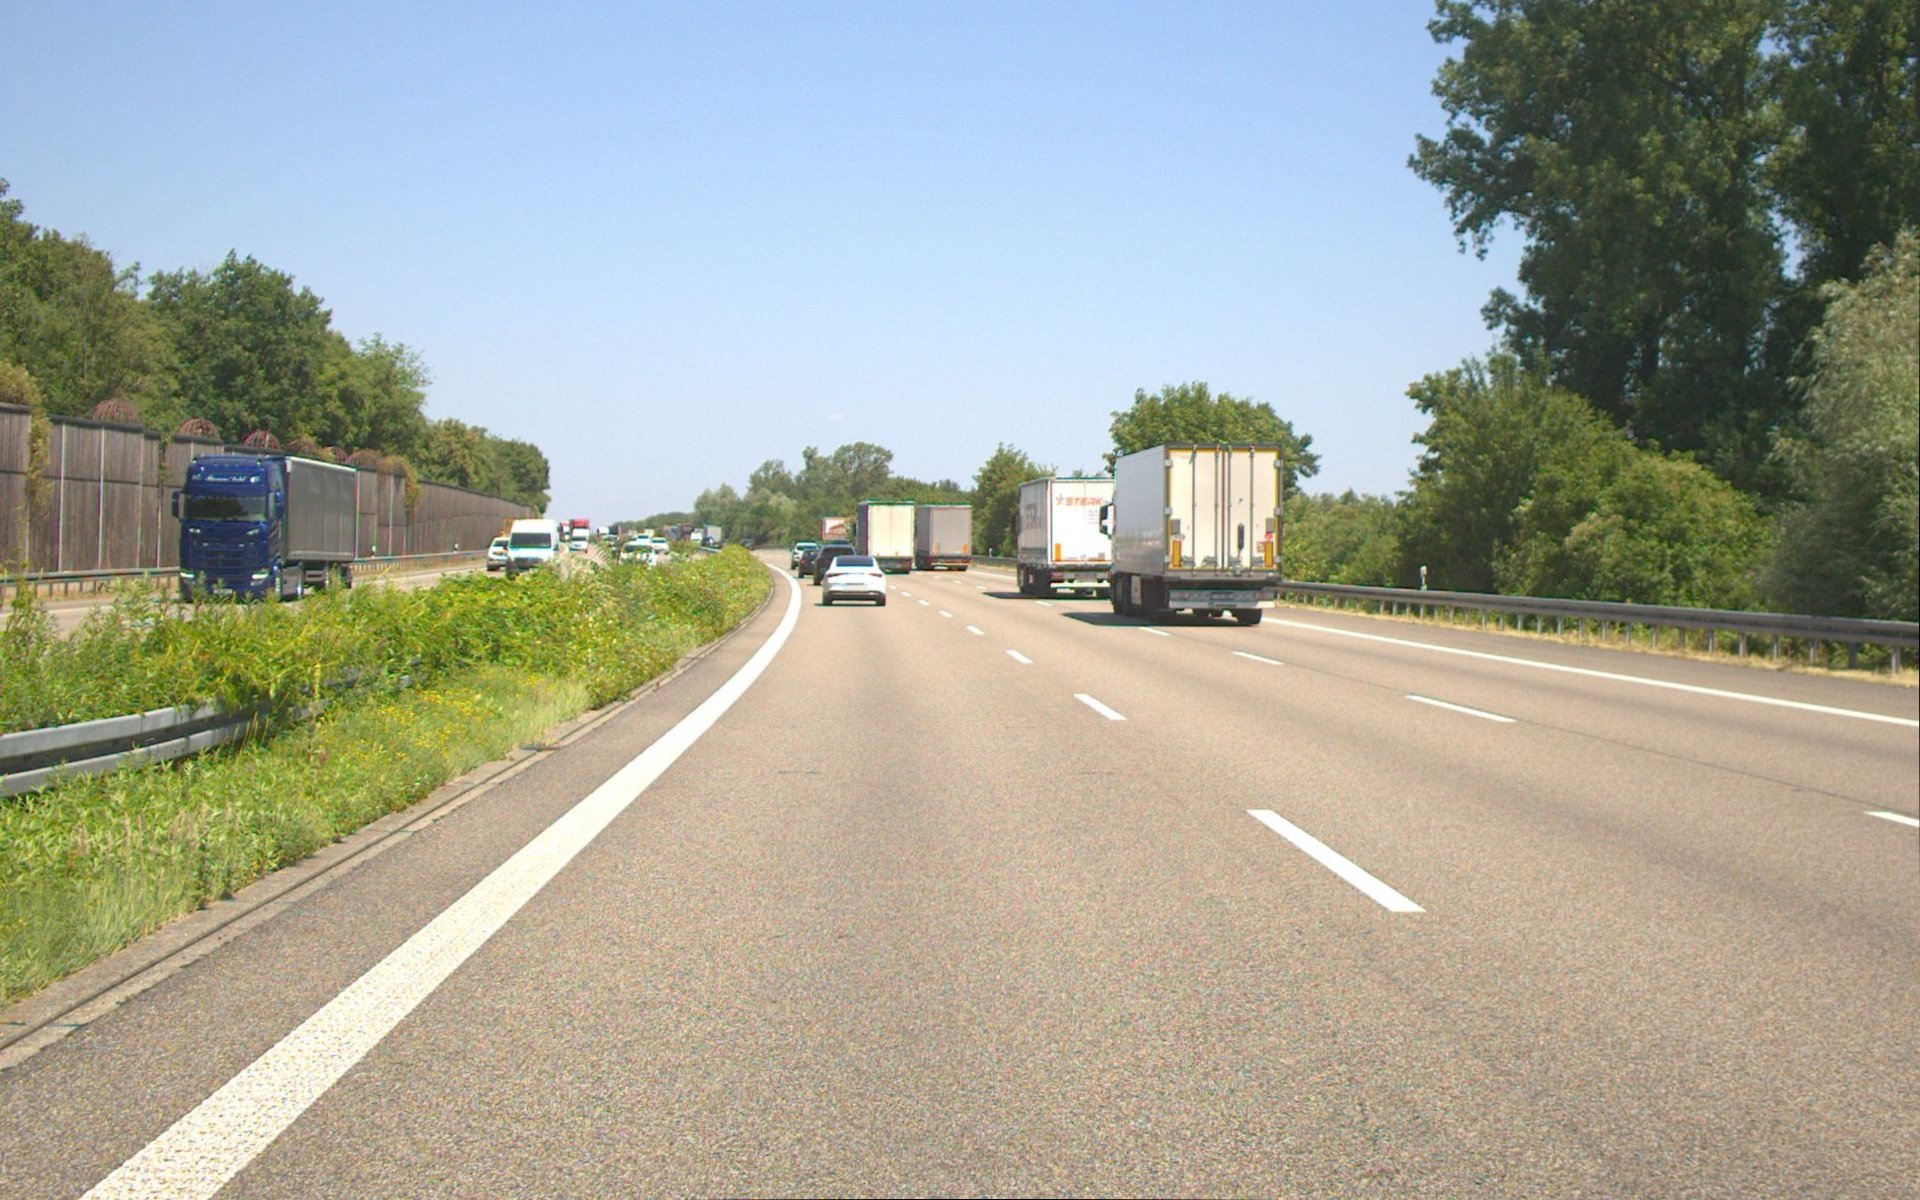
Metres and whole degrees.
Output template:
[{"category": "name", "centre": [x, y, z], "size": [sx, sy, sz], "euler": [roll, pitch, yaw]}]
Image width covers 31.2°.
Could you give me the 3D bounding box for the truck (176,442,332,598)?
[{"category": "truck", "centre": [-19.655, -2.183, 96.321], "size": [2.610, 4.114, 10.281], "euler": [1, 1, -2]}]

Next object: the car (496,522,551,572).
[{"category": "car", "centre": [-18.262, -2.211, 143.912], "size": [1.993, 2.007, 4.001], "euler": [1, 1, -4]}]

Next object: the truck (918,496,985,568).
[{"category": "truck", "centre": [-0.597, -4.203, 215.061], "size": [3.830, 4.296, 11.555], "euler": [1, 0, -2]}]

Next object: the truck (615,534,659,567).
[{"category": "truck", "centre": [-15.321, -2.326, 163.146], "size": [1.818, 1.518, 3.628], "euler": [1, 0, -2]}]

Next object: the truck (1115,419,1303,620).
[{"category": "truck", "centre": [5.636, -1.776, 79.920], "size": [3.492, 4.296, 10.988], "euler": [1, 0, 0]}]

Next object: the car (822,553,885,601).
[{"category": "car", "centre": [-3.100, -0.690, 100.775], "size": [1.715, 1.365, 3.375], "euler": [1, 1, 0]}]

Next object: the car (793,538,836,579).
[{"category": "car", "centre": [-7.264, -2.091, 171.955], "size": [1.993, 2.007, 4.000], "euler": [1, 1, -1]}]

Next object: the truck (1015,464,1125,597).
[{"category": "truck", "centre": [3.700, -2.307, 118.339], "size": [3.359, 4.296, 10.828], "euler": [1, 0, 0]}]

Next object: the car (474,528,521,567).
[{"category": "car", "centre": [-24.788, -2.813, 184.317], "size": [1.993, 2.007, 4.000], "euler": [1, 0, 0]}]

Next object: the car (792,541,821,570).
[{"category": "car", "centre": [-9.620, -2.806, 215.559], "size": [1.723, 1.777, 4.000], "euler": [1, 1, -1]}]

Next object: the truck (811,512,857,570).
[{"category": "truck", "centre": [-7.498, -3.516, 205.519], "size": [2.544, 3.401, 8.381], "euler": [1, 1, -1]}]

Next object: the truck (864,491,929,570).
[{"category": "truck", "centre": [-3.699, -3.898, 197.354], "size": [3.580, 4.296, 12.191], "euler": [1, 0, -2]}]

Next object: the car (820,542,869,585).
[{"category": "car", "centre": [-4.804, -1.520, 142.788], "size": [1.993, 1.766, 4.000], "euler": [1, 1, -2]}]
